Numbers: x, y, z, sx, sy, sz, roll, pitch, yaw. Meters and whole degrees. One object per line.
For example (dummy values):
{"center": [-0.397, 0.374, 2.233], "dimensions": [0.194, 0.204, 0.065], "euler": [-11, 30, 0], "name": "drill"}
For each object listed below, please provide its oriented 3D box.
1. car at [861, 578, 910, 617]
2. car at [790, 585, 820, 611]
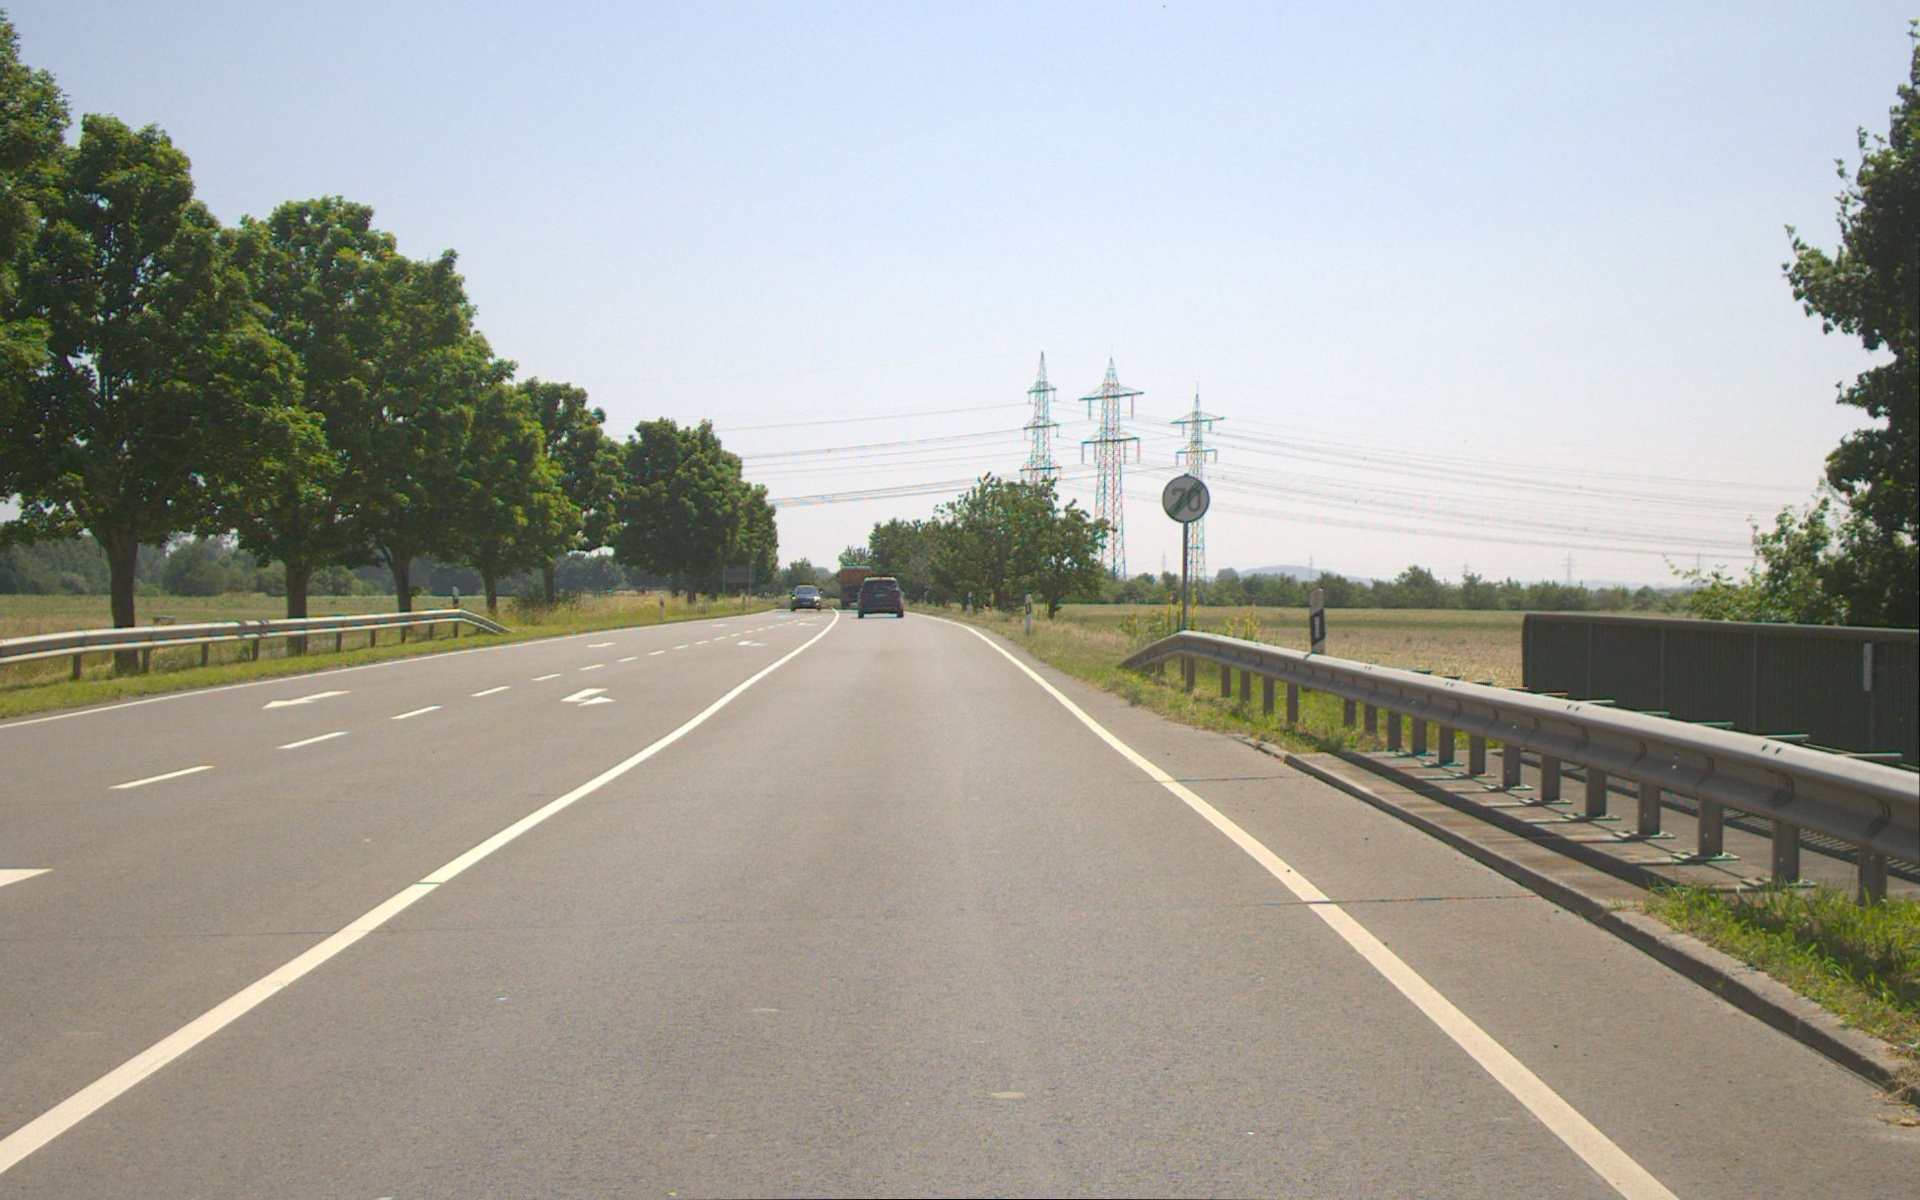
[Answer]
{"center": [-3.113, -0.112, 142.747], "dimensions": [1.884, 1.513, 4.040], "euler": [3, 0, -3], "name": "car"}
{"center": [-9.169, -0.129, 203.944], "dimensions": [1.739, 1.468, 4.618], "euler": [0, 0, -2], "name": "car"}
